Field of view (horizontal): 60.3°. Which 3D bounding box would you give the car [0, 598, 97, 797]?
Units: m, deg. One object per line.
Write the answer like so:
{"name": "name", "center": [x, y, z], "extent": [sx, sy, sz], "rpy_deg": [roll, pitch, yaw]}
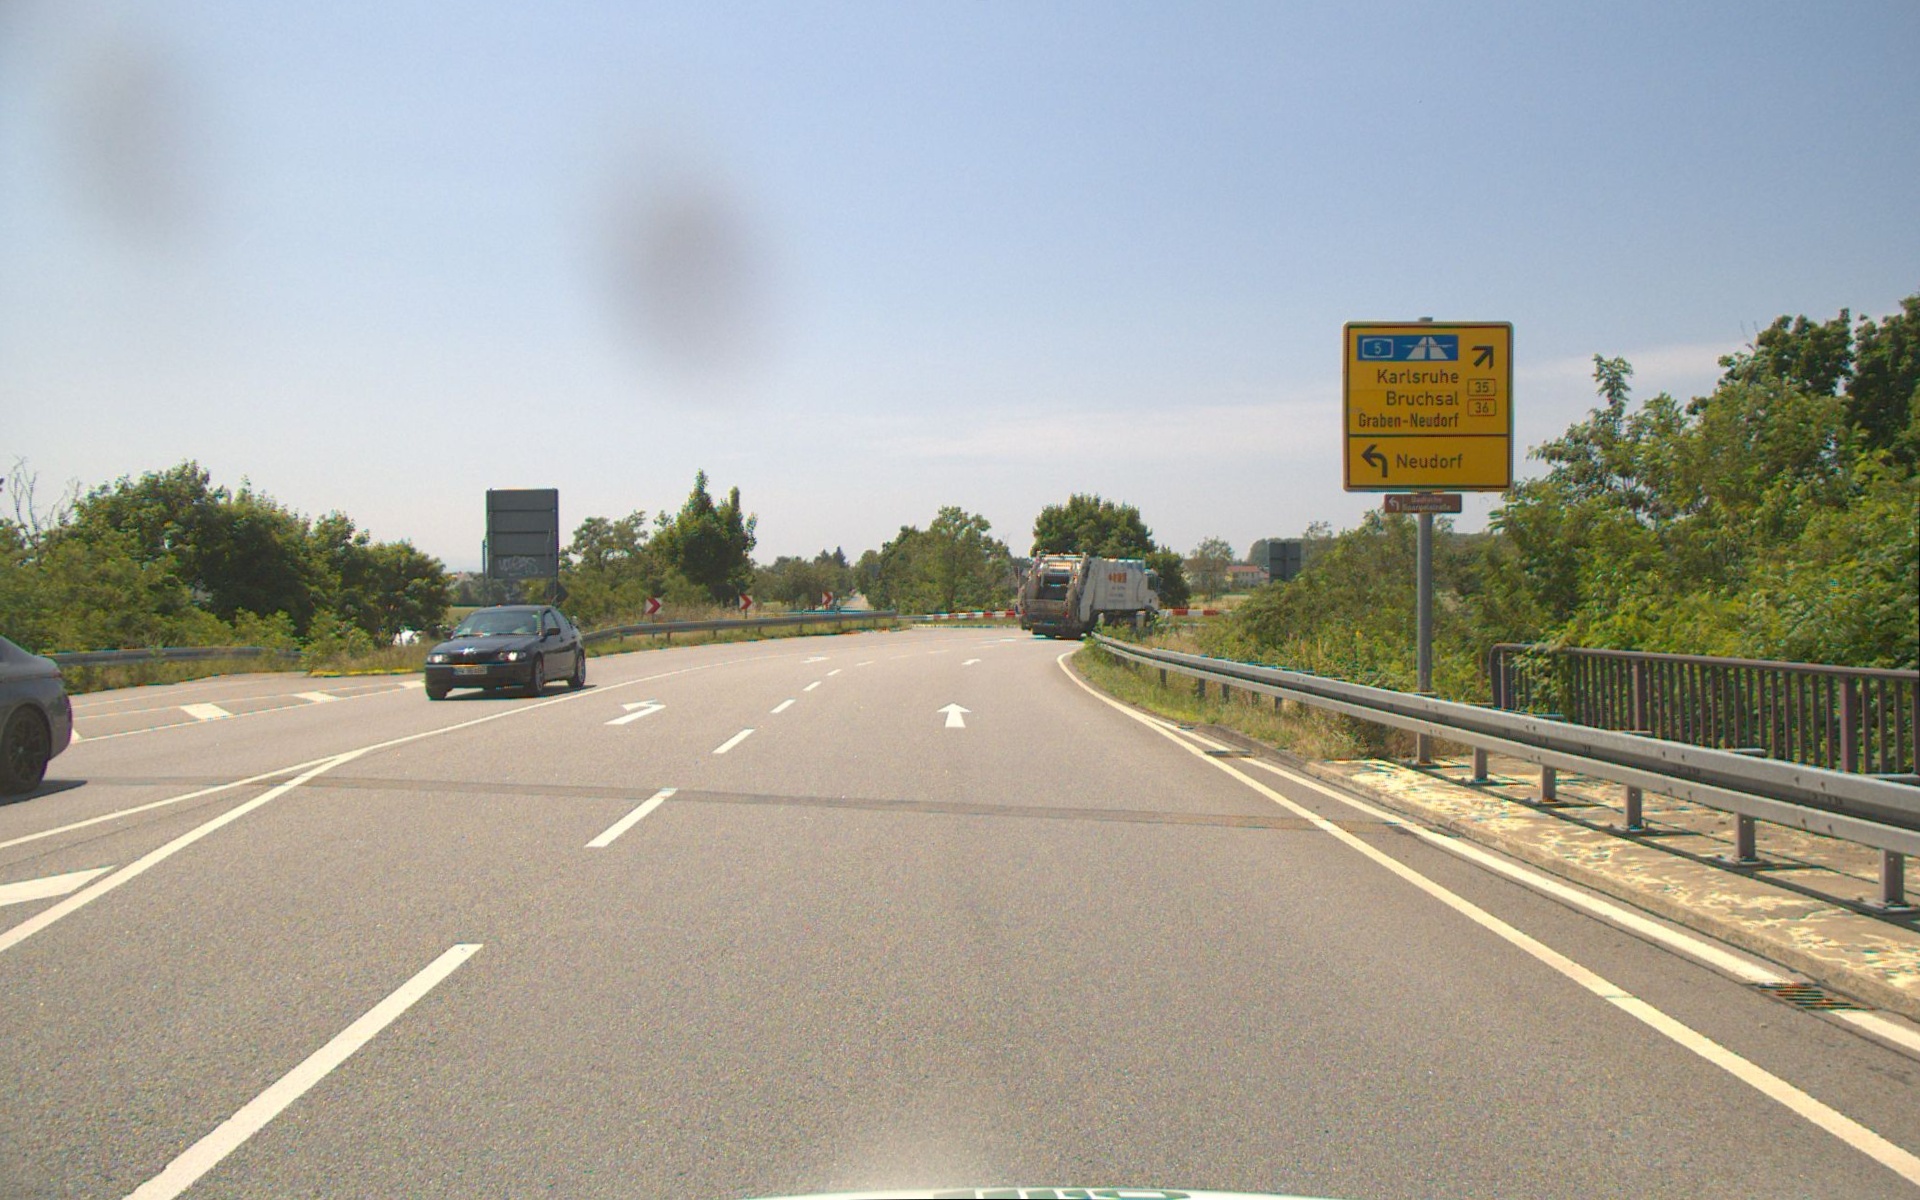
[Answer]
{"name": "car", "center": [-8.019, 0.772, 11.381], "extent": [1.689, 1.478, 4.793], "rpy_deg": [-2, 1, -1]}

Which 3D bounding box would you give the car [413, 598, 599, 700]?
{"name": "car", "center": [-7.329, 0.737, 27.137], "extent": [1.699, 1.425, 4.382], "rpy_deg": [-2, 1, 1]}

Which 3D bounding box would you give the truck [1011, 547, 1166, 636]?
{"name": "truck", "center": [5.894, -0.314, 73.688], "extent": [2.761, 3.733, 9.926], "rpy_deg": [1, 0, 31]}
